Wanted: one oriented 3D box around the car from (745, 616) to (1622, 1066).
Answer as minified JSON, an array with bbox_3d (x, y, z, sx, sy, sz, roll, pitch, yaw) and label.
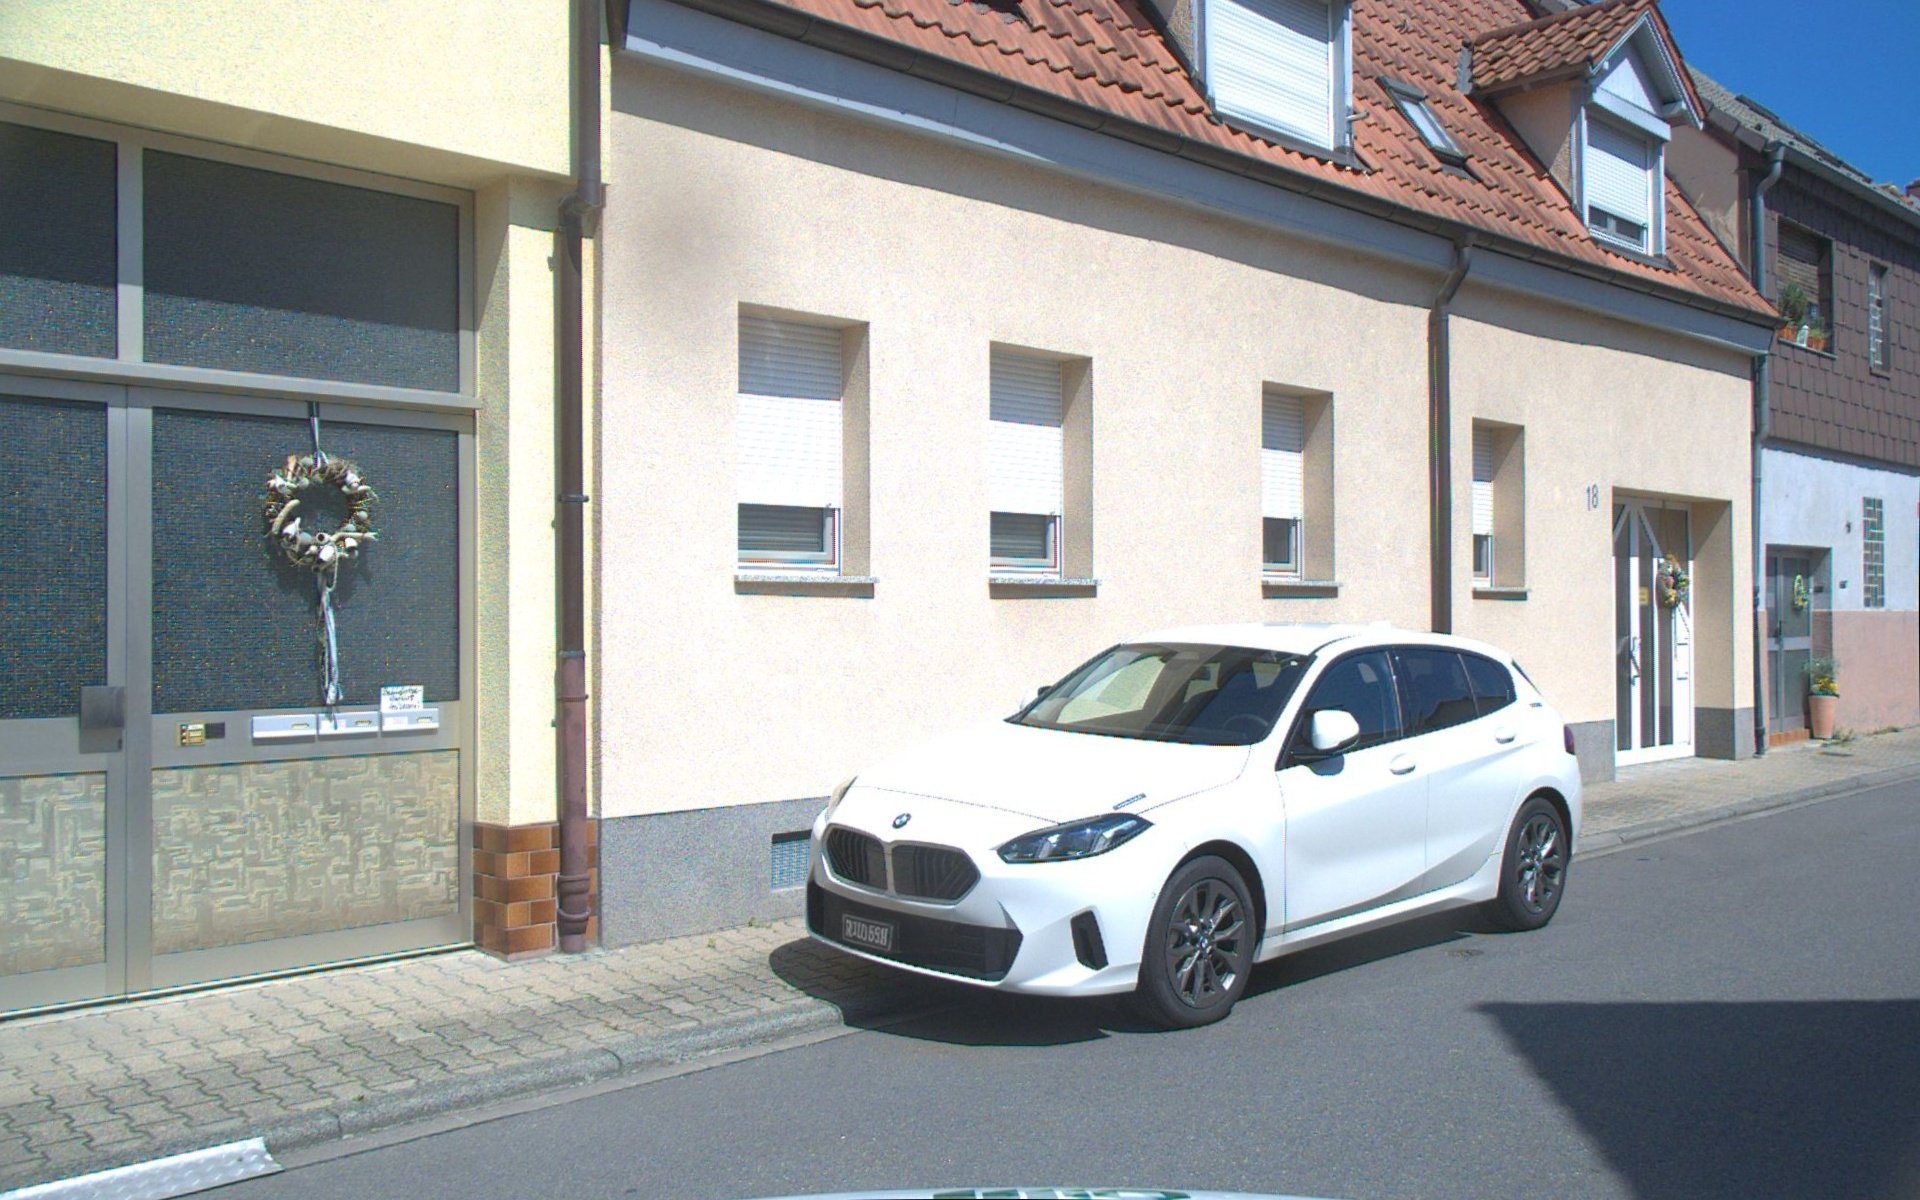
[{"bbox_3d":[1.229,0.833,7.582,4.181,1.479,1.760,0,-2,-43],"label":"car"}]
